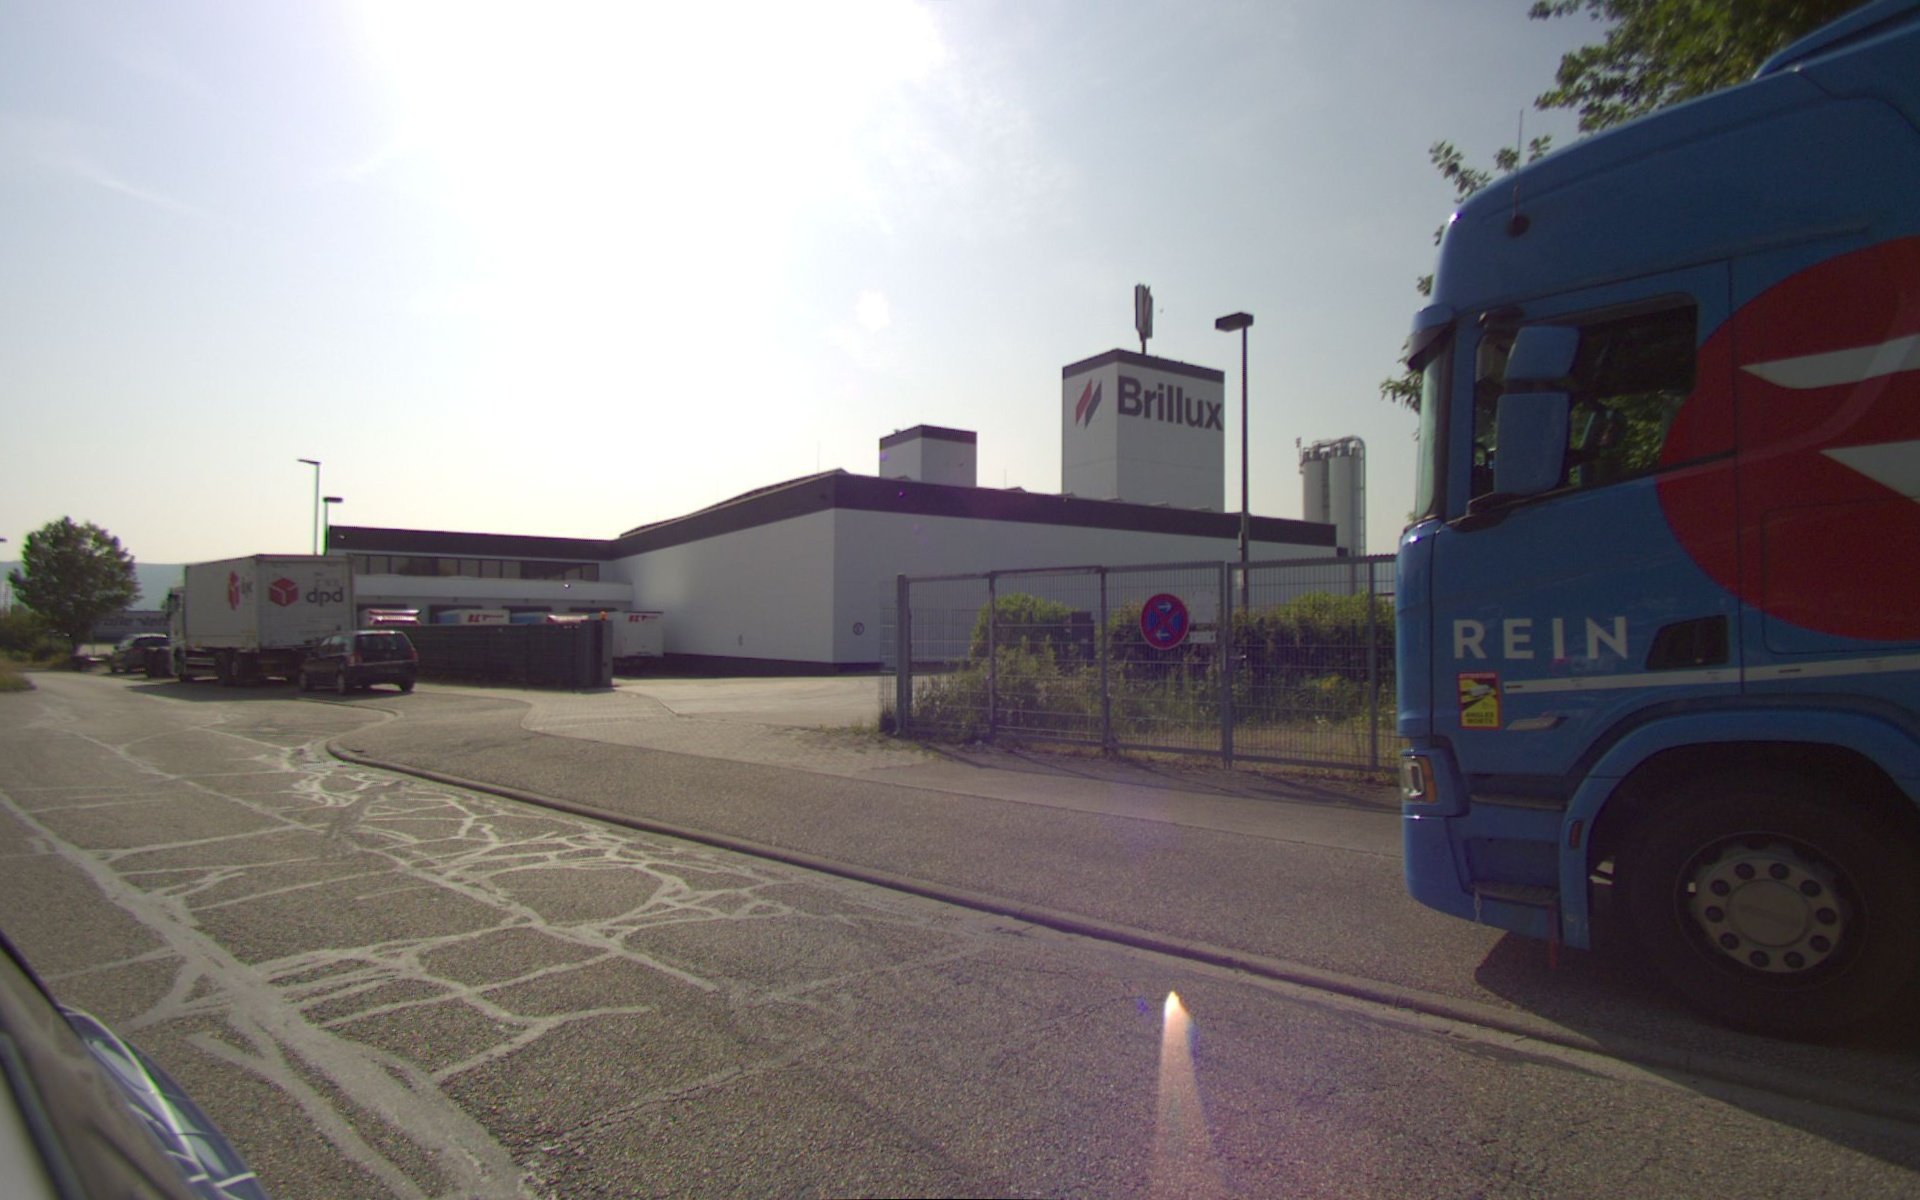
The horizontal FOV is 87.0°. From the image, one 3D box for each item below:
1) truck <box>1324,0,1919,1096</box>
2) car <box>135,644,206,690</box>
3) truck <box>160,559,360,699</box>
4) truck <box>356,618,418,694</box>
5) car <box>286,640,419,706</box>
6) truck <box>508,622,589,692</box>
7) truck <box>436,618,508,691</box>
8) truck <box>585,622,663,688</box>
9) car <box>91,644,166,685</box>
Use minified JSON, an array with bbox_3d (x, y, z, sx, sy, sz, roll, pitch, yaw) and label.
[{"bbox_3d":[6.184,-0.379,2.462,9.630,3.914,2.685,-2,-2,41],"label":"truck"},{"bbox_3d":[-29.542,2.471,37.832,3.165,1.619,1.423,-2,-4,40],"label":"car"},{"bbox_3d":[-22.714,0.909,32.502,10.055,3.883,2.748,-2,-1,40],"label":"truck"},{"bbox_3d":[-32.872,3.159,57.874,2.613,4.009,9.265,2,-3,-31],"label":"truck"},{"bbox_3d":[-16.231,1.883,26.955,4.188,1.604,1.745,-2,-2,39],"label":"car"},{"bbox_3d":[-26.594,3.567,64.938,2.743,4.076,12.389,2,-3,-31],"label":"truck"},{"bbox_3d":[-30.240,3.309,62.463,2.989,4.168,9.265,2,-3,-31],"label":"truck"},{"bbox_3d":[-22.544,3.608,67.491,2.860,4.087,9.265,2,-3,-31],"label":"truck"},{"bbox_3d":[-34.508,2.637,41.967,3.963,1.594,1.713,-2,-2,40],"label":"car"}]
